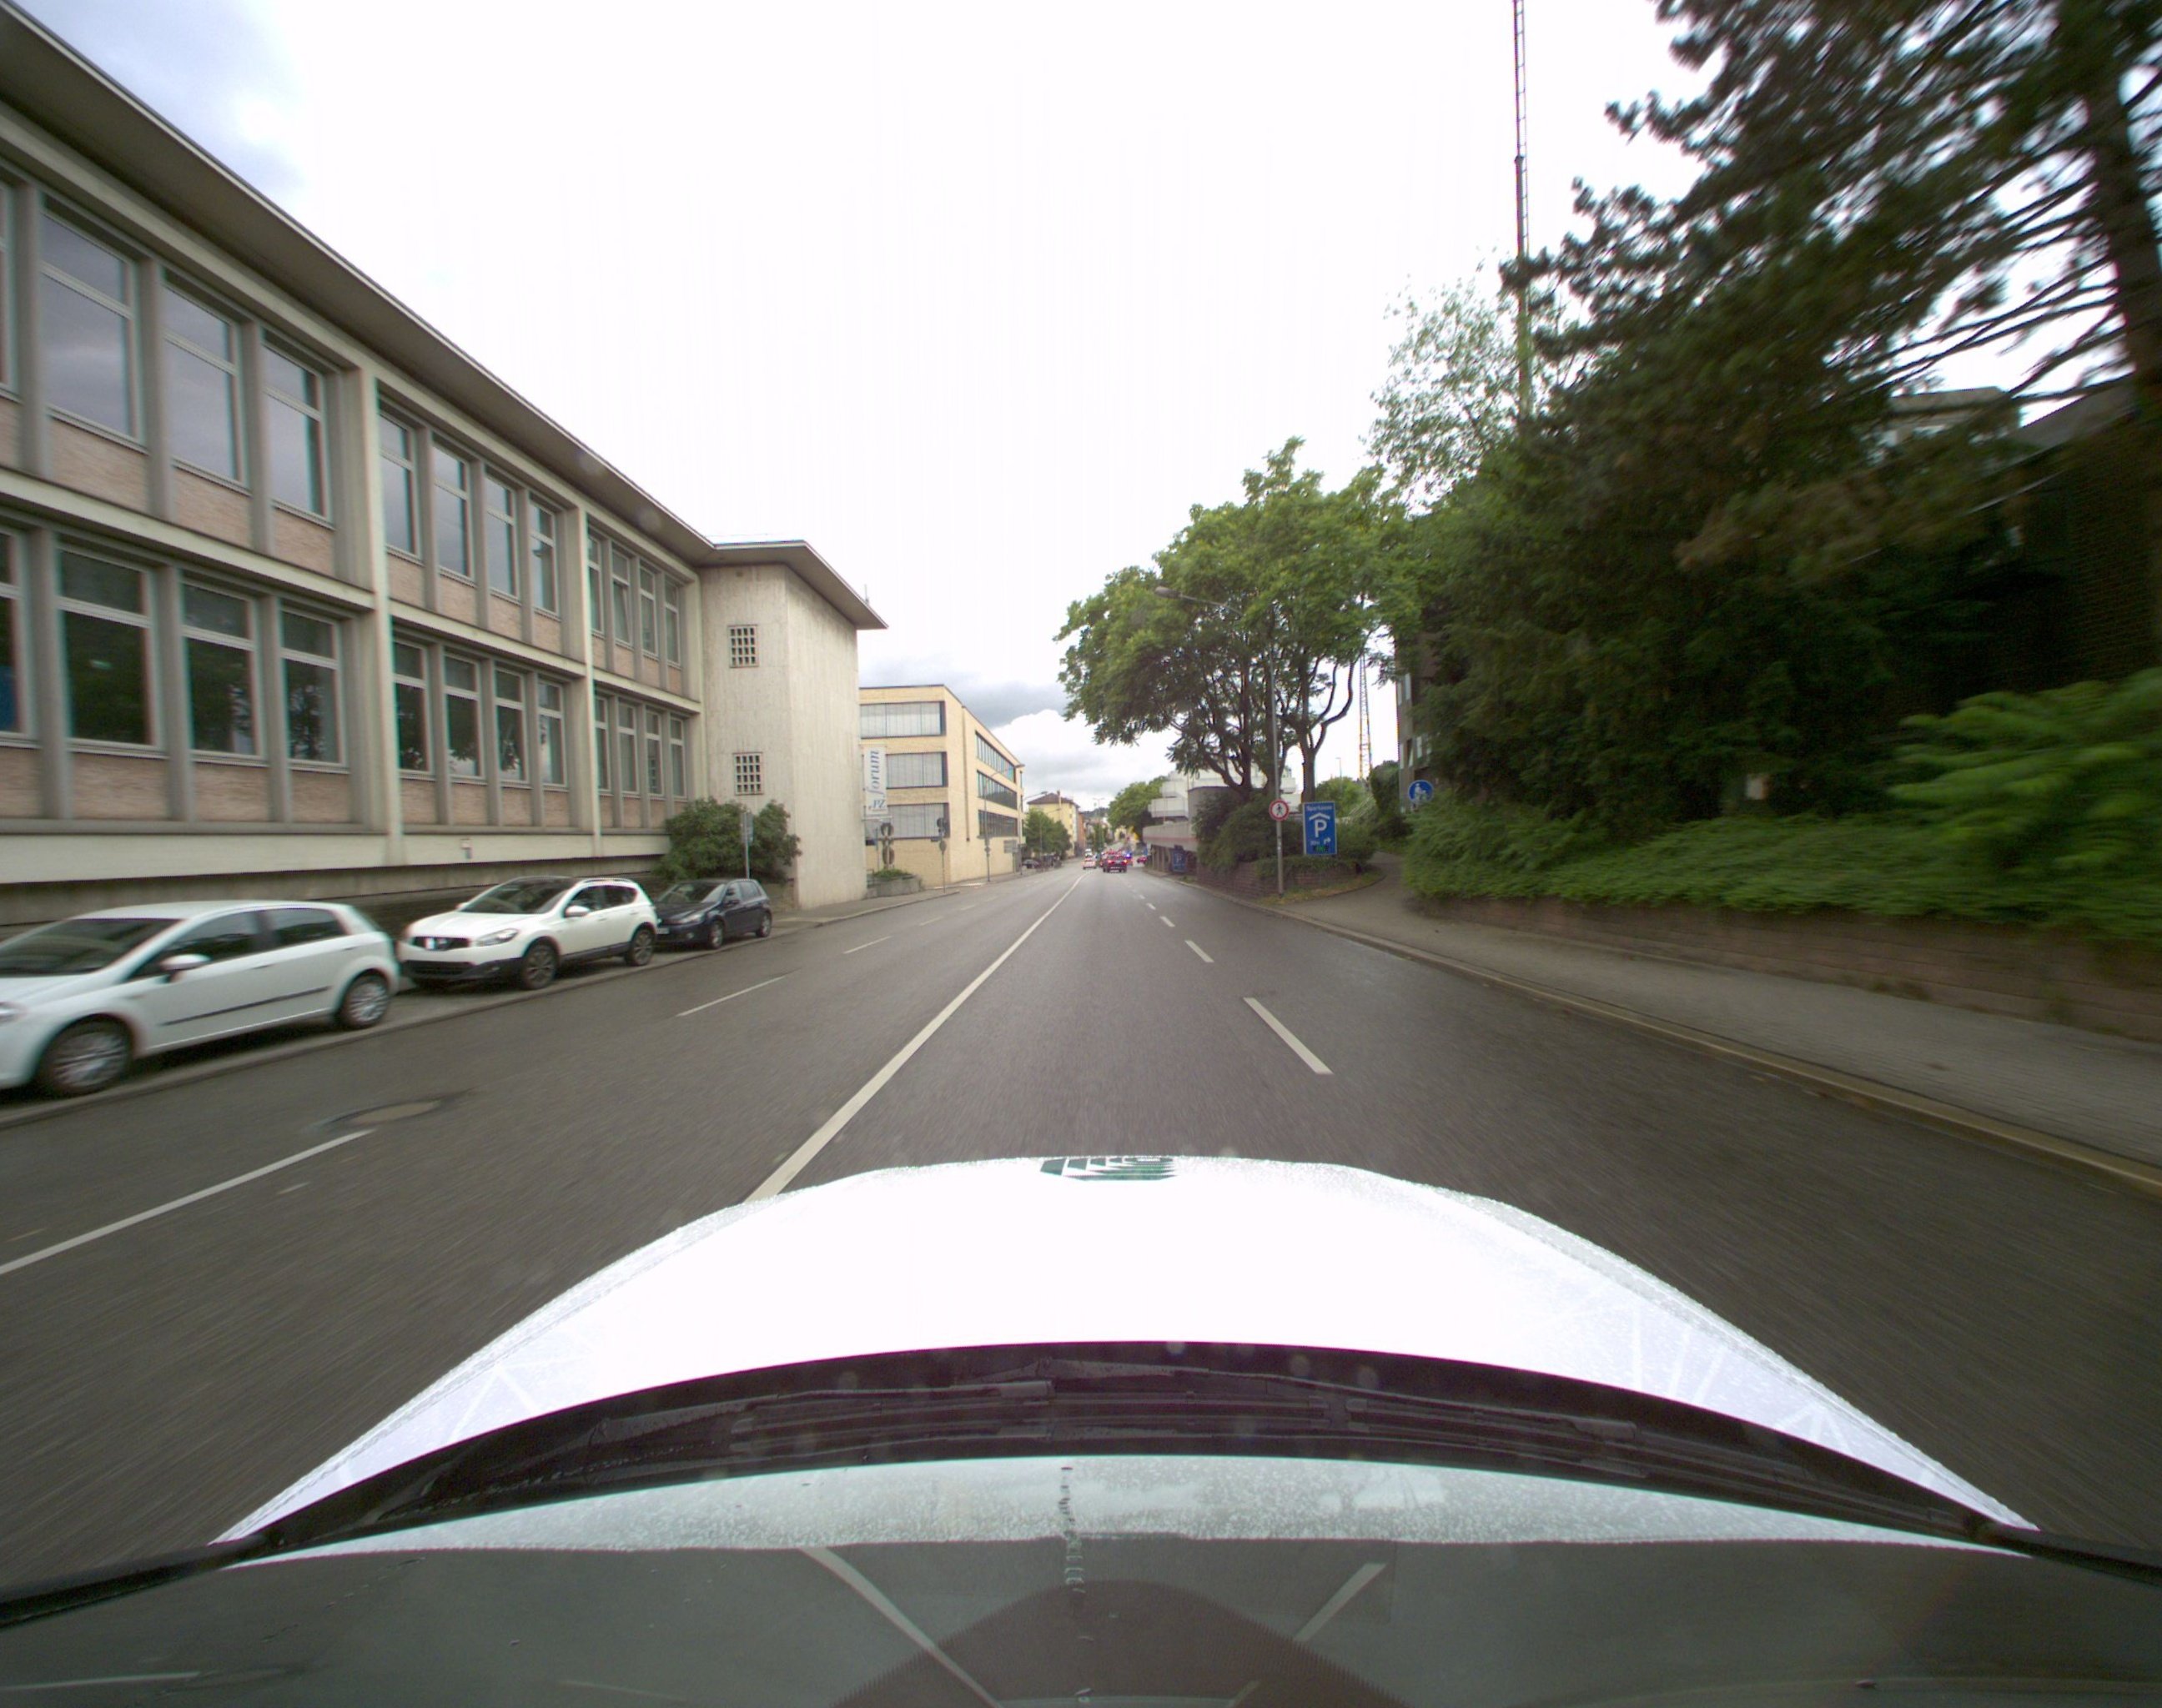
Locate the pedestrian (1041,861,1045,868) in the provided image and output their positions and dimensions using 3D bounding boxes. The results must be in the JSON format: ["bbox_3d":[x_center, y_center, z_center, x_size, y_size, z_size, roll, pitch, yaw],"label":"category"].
[{"bbox_3d":[-6.540,1.808,140.855,0.450,1.278,0.456,-2,-1,12],"label":"pedestrian"}]

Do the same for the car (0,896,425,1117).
[{"bbox_3d":[-8.916,1.241,7.857,1.742,1.454,4.181,0,0,0],"label":"car"}]

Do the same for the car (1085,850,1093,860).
[{"bbox_3d":[2.571,0.280,252.178,2.178,3.098,4.926,-2,0,-2],"label":"car"}]

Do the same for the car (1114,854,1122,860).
[{"bbox_3d":[10.426,0.831,229.269,1.988,1.679,3.998,-2,1,-1],"label":"car"}]

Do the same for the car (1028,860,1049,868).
[{"bbox_3d":[-7.554,1.815,143.415,3.648,1.235,1.439,-2,-1,-4],"label":"car"}]

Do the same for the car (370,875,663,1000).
[{"bbox_3d":[-8.750,1.188,13.173,1.741,1.598,4.182,0,0,1],"label":"car"}]

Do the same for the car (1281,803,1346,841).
[{"bbox_3d":[13.654,-1.865,47.953,3.429,2.013,1.658,-2,0,9],"label":"car"}]

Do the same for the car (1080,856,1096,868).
[{"bbox_3d":[0.980,1.108,114.862,1.989,1.680,3.995,-2,0,-3],"label":"car"}]

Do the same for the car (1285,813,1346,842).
[{"bbox_3d":[15.217,-1.682,53.035,3.601,1.706,1.645,-2,0,9],"label":"car"}]

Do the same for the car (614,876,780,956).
[{"bbox_3d":[-8.472,1.298,18.432,1.742,1.480,4.181,0,0,0],"label":"car"}]

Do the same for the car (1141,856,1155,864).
[{"bbox_3d":[13.566,1.211,164.727,1.979,1.680,4.016,-2,0,15],"label":"car"}]

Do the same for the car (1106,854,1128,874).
[{"bbox_3d":[3.705,1.009,83.787,2.083,1.911,4.102,-1,0,2],"label":"car"}]

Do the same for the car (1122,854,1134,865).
[{"bbox_3d":[8.761,0.956,151.656,2.164,2.004,4.003,-2,0,3],"label":"car"}]

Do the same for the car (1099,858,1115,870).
[{"bbox_3d":[3.884,1.479,122.879,1.989,1.680,3.995,-2,0,-3],"label":"car"}]

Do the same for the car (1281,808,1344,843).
[{"bbox_3d":[14.340,-1.756,50.648,3.563,2.013,1.600,-2,0,9],"label":"car"}]
